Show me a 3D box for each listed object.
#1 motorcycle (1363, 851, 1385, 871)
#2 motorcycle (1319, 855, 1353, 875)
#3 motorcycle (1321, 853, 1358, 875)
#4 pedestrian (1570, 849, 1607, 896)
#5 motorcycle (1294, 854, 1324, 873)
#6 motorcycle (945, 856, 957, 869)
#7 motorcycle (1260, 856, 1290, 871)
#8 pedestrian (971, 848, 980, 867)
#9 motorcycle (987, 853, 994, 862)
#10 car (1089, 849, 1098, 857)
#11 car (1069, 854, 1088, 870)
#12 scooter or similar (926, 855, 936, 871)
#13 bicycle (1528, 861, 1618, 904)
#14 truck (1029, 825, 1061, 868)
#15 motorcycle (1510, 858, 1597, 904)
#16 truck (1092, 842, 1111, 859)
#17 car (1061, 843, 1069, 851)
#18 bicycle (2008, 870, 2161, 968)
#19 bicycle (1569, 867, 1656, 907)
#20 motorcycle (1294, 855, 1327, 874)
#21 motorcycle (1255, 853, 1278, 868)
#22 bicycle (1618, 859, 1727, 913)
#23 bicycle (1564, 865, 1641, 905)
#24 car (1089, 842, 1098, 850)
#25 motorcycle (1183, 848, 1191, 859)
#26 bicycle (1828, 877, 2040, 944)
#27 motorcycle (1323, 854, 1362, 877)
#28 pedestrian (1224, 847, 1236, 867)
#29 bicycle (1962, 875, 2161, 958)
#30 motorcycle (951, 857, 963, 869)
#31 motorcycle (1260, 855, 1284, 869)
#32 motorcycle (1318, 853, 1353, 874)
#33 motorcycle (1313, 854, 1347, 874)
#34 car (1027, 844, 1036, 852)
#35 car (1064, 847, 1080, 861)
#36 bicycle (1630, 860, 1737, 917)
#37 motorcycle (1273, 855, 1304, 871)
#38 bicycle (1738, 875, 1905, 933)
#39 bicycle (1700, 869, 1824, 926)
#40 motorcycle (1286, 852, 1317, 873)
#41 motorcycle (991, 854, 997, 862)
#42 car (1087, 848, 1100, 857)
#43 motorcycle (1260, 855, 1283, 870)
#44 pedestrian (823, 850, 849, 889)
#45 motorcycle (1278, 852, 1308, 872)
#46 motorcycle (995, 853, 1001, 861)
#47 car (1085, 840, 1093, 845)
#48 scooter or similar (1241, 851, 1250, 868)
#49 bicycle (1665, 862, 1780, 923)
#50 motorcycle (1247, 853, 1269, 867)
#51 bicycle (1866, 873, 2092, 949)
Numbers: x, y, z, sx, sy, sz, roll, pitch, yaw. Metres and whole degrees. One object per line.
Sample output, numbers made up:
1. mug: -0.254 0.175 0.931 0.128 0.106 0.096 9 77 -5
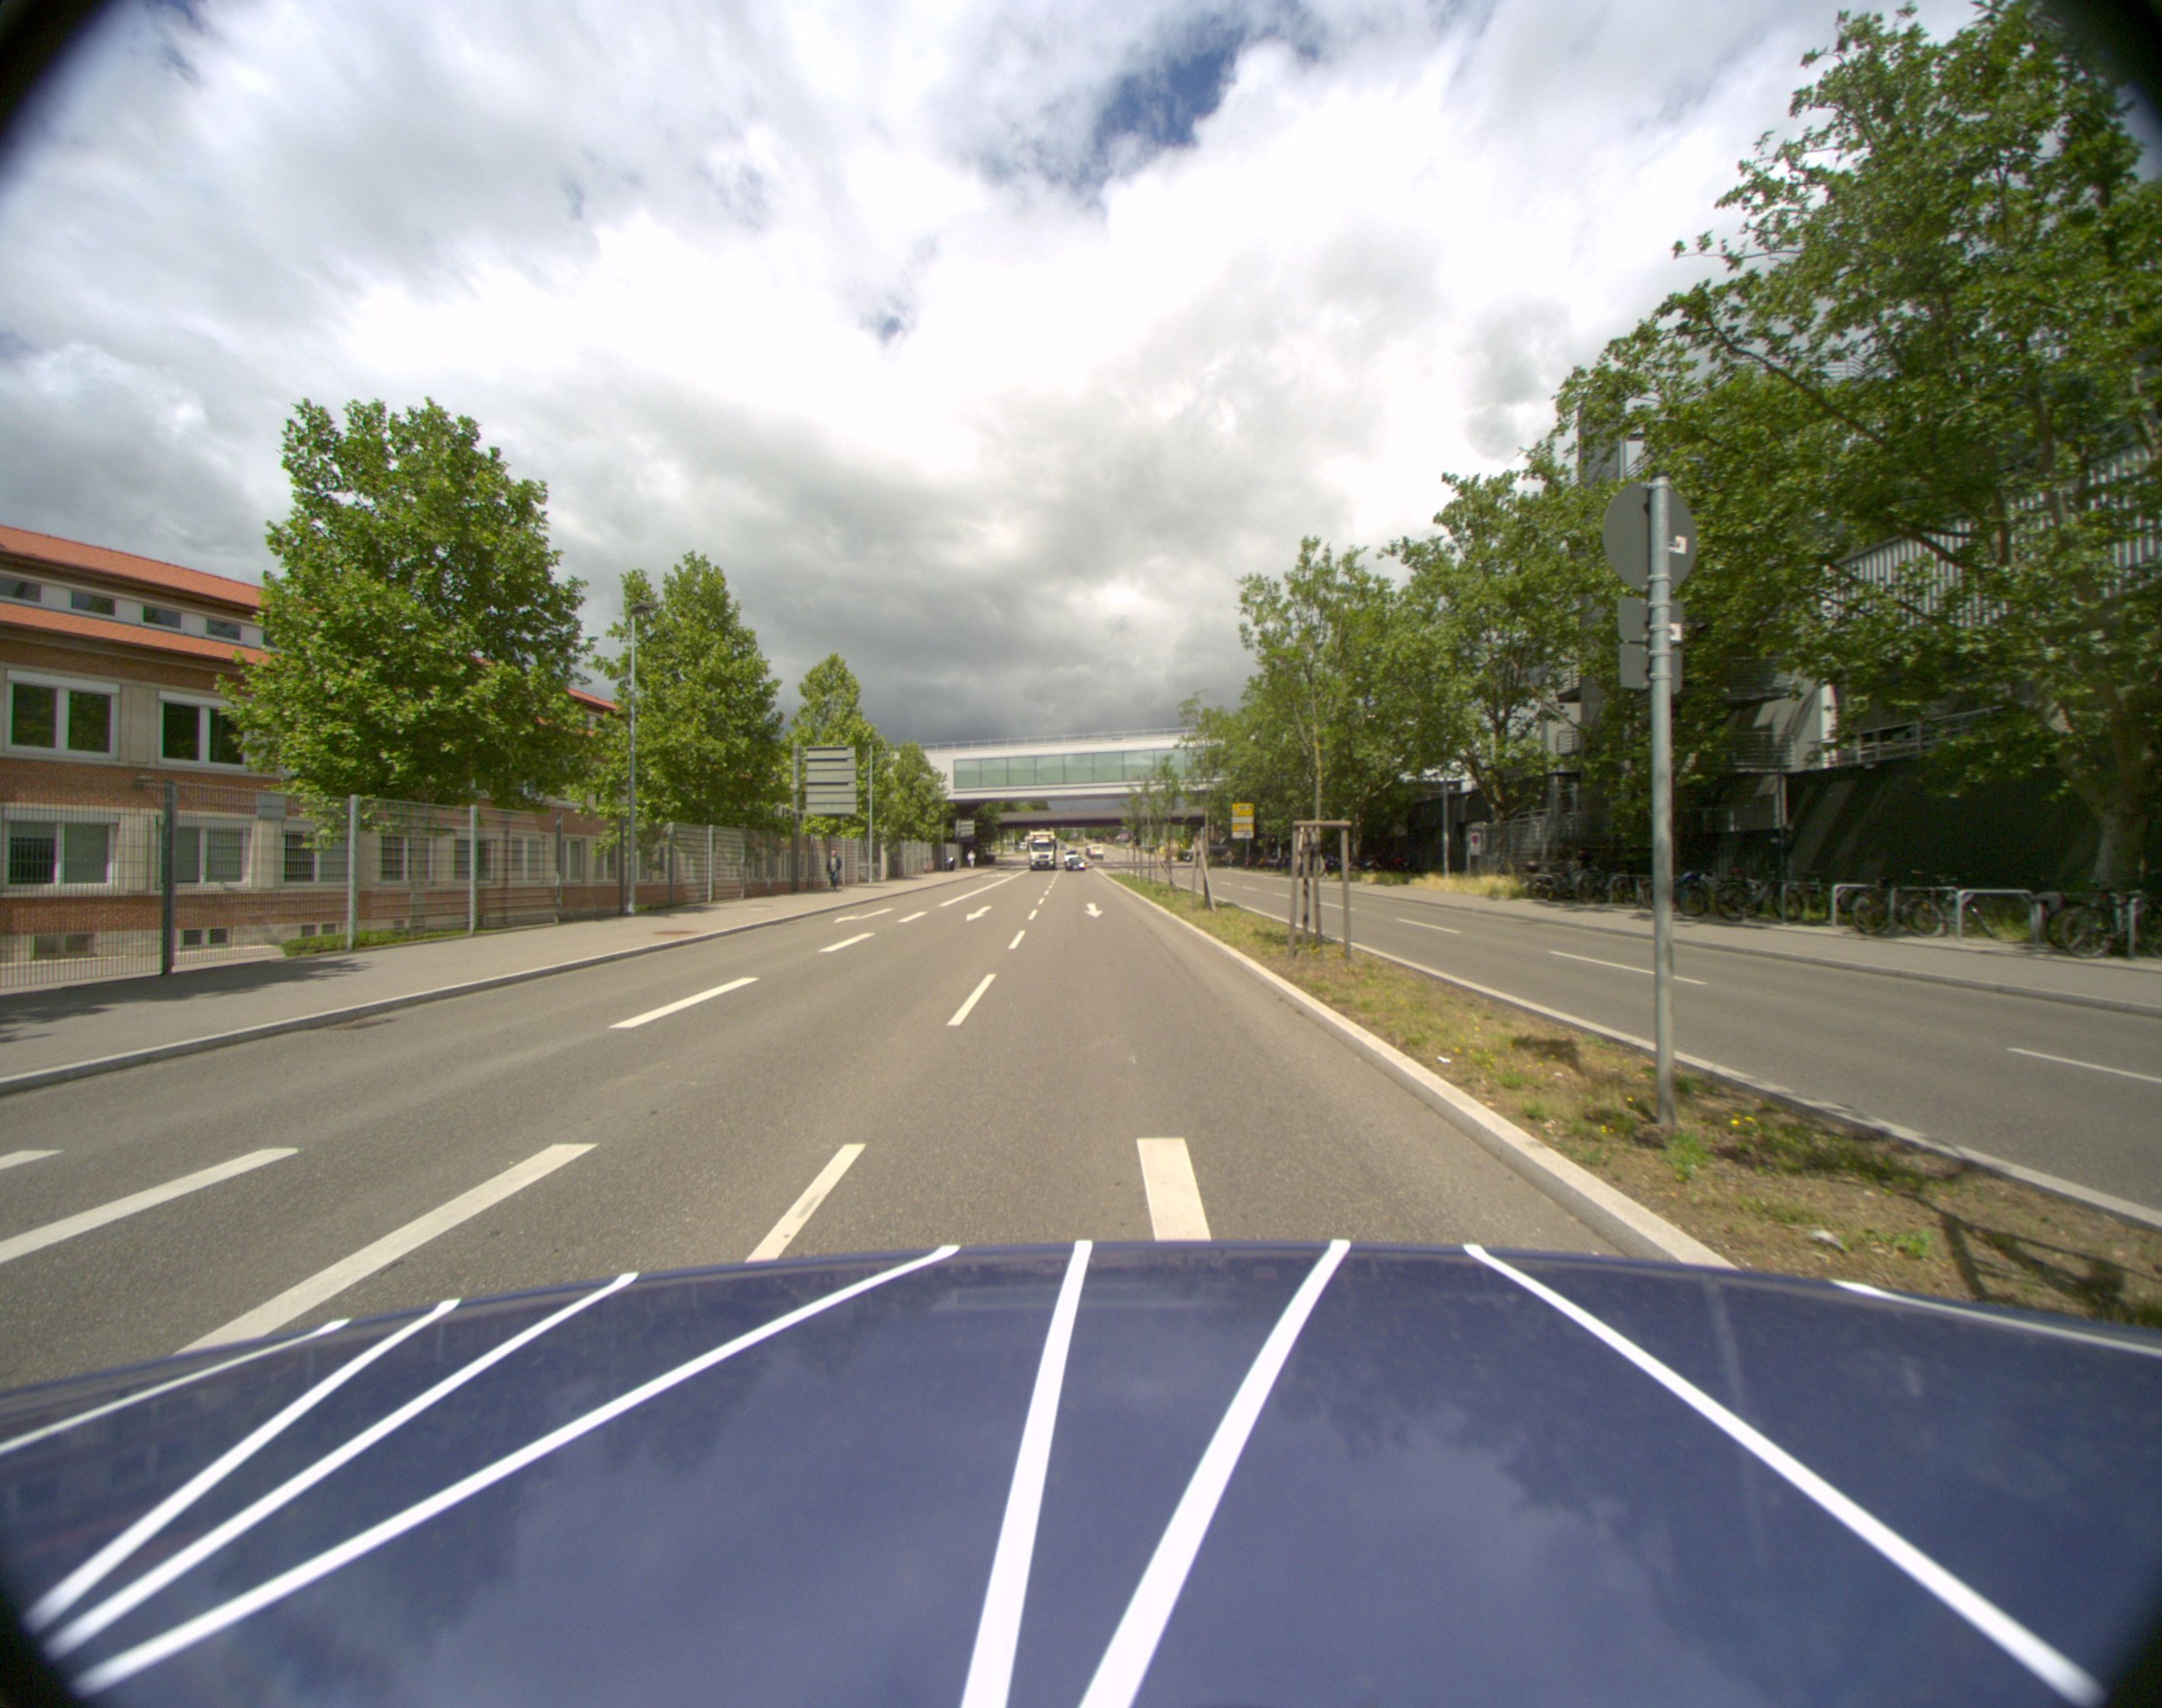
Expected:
1. motorcycle: 18.653 0.436 48.398 0.654 1.202 1.984 -3 -1 4
2. motorcycle: 15.289 0.653 45.583 1.880 1.078 0.795 -3 -1 15
3. motorcycle: 15.085 0.595 44.330 1.881 1.179 0.730 -3 0 8
4. pedestrian: 17.049 0.616 25.540 0.755 1.543 0.821 -1 1 10
5. motorcycle: 15.135 0.625 50.475 1.880 1.172 0.816 -3 -1 15
6. motorcycle: -11.818 0.776 68.980 0.670 1.058 2.246 2 1 -1
7. motorcycle: 14.684 0.716 57.461 1.939 1.109 0.920 1 1 -12
8. pedestrian: -10.918 0.350 78.666 0.791 1.877 1.097 0 1 -1
9. motorcycle: -12.198 0.511 101.982 0.679 1.148 2.112 0 1 0
10. car: 2.498 -0.186 153.249 1.713 1.445 4.479 -1 0 0
11. car: -0.226 0.692 69.335 1.675 1.390 3.999 -1 0 -1
12. scooter or similar: -12.190 0.755 61.782 0.492 1.287 1.336 0 1 -1
13. bicycle: 14.376 0.827 22.235 2.139 1.173 0.806 -1 1 -2
14. truck: -3.561 -0.750 76.796 2.787 3.981 10.085 -1 0 -1
15. motorcycle: 14.257 0.799 22.970 2.139 1.301 0.806 -1 1 -2
16. truck: 3.372 -0.632 125.373 2.486 2.735 6.456 -1 0 -3
17. car: -4.604 -1.985 218.308 1.999 2.002 3.999 -1 0 -1
18. bicycle: 14.301 0.874 10.430 2.410 1.250 0.556 -1 1 2
19. bicycle: 14.695 0.908 21.023 2.086 1.056 0.497 -1 1 -2
20. motorcycle: 14.844 0.675 49.215 1.881 1.172 0.815 -3 -1 9
21. motorcycle: 15.219 0.516 62.329 1.596 1.116 0.775 -3 -1 -9
22. bicycle: 14.907 0.784 19.173 2.139 1.275 0.806 -1 1 -2
23. bicycle: 14.747 0.872 21.492 1.929 1.068 0.422 -1 1 -2
24. car: 2.625 -1.667 162.601 1.813 1.770 4.977 -1 1 -1
25. motorcycle: 12.805 -0.079 91.756 0.641 1.191 2.257 -3 1 -1
26. bicycle: 14.747 0.956 13.204 2.569 1.089 0.696 0 1 10
27. motorcycle: 14.597 0.643 42.451 1.881 1.166 0.746 -3 -1 9
28. pedestrian: 12.793 0.240 65.076 0.769 1.603 0.813 -3 1 -1
29. bicycle: 14.998 0.929 11.322 2.569 1.151 0.726 -1 1 10
30. motorcycle: -11.763 0.829 72.111 0.709 1.058 2.510 2 1 -1
31. motorcycle: 14.978 0.657 59.623 1.595 1.027 0.776 -3 -1 1
32. motorcycle: 15.652 0.593 46.697 1.882 1.202 0.655 -3 -1 3
33. motorcycle: 15.649 0.623 47.822 1.882 1.172 0.698 -3 -1 3
34. car: -12.804 -1.576 195.643 1.999 2.002 3.999 -1 0 -1
35. car: -1.167 0.029 98.446 1.929 1.728 3.999 -1 0 -1
36. bicycle: 14.342 0.795 18.108 1.923 1.275 0.806 -1 1 -2
37. motorcycle: 15.226 0.676 55.738 1.933 1.109 0.923 -3 -1 27
38. bicycle: 14.773 0.973 15.173 2.844 1.000 0.850 -1 1 -9
39. bicycle: 14.367 0.903 16.061 1.923 1.116 0.806 -1 1 -2
40. motorcycle: 15.067 0.580 51.857 1.934 1.336 0.866 -3 -1 20
41. motorcycle: -12.073 0.581 105.337 0.679 1.076 2.037 0 1 -2
42. car: 2.309 -0.238 137.353 1.910 1.621 4.291 -1 0 -4
43. motorcycle: 15.256 0.649 60.996 1.595 1.116 0.776 -3 -1 1
44. pedestrian: -11.435 0.713 35.453 0.879 1.733 0.940 1 1 -1
45. motorcycle: 15.194 0.569 54.330 1.934 1.283 0.894 -3 -1 20
46. motorcycle: -11.766 0.377 108.334 0.679 1.076 2.180 0 1 -2
47. car: 2.165 -3.159 207.120 1.998 1.346 4.000 0 1 1
48. scooter or similar: 13.130 0.435 60.560 0.355 1.229 1.479 -2 2 -1
49. bicycle: 14.378 0.842 17.057 1.923 1.275 0.806 -1 1 -2
50. motorcycle: 15.002 0.511 64.365 1.745 1.164 0.777 -3 -1 8
51. bicycle: 14.594 0.924 12.409 2.569 1.151 0.644 -1 1 10
